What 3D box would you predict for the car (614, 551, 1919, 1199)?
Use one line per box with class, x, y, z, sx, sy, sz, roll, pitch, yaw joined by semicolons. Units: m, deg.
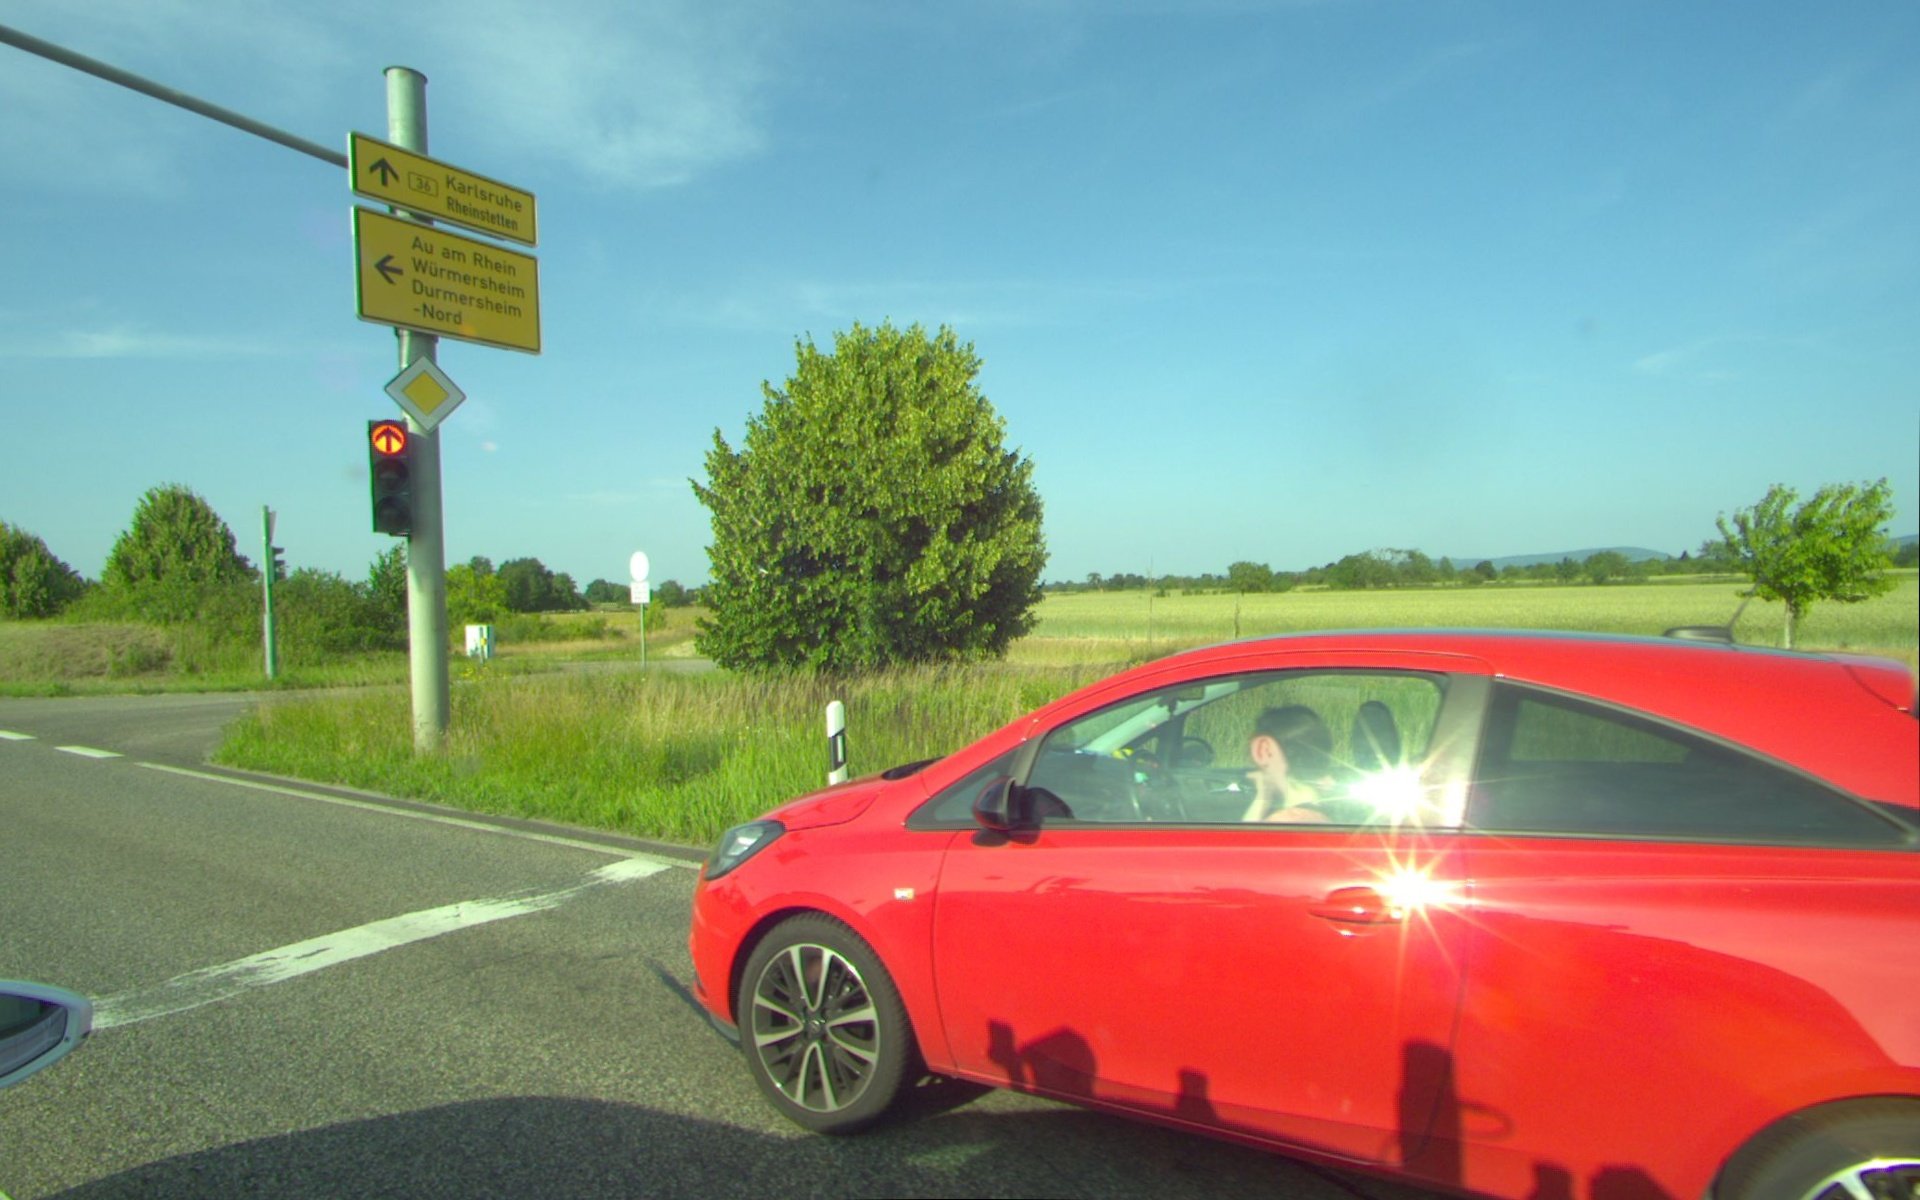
car;0.894;0.721;3.113;3.693;1.569;1.695;-1;0;29
